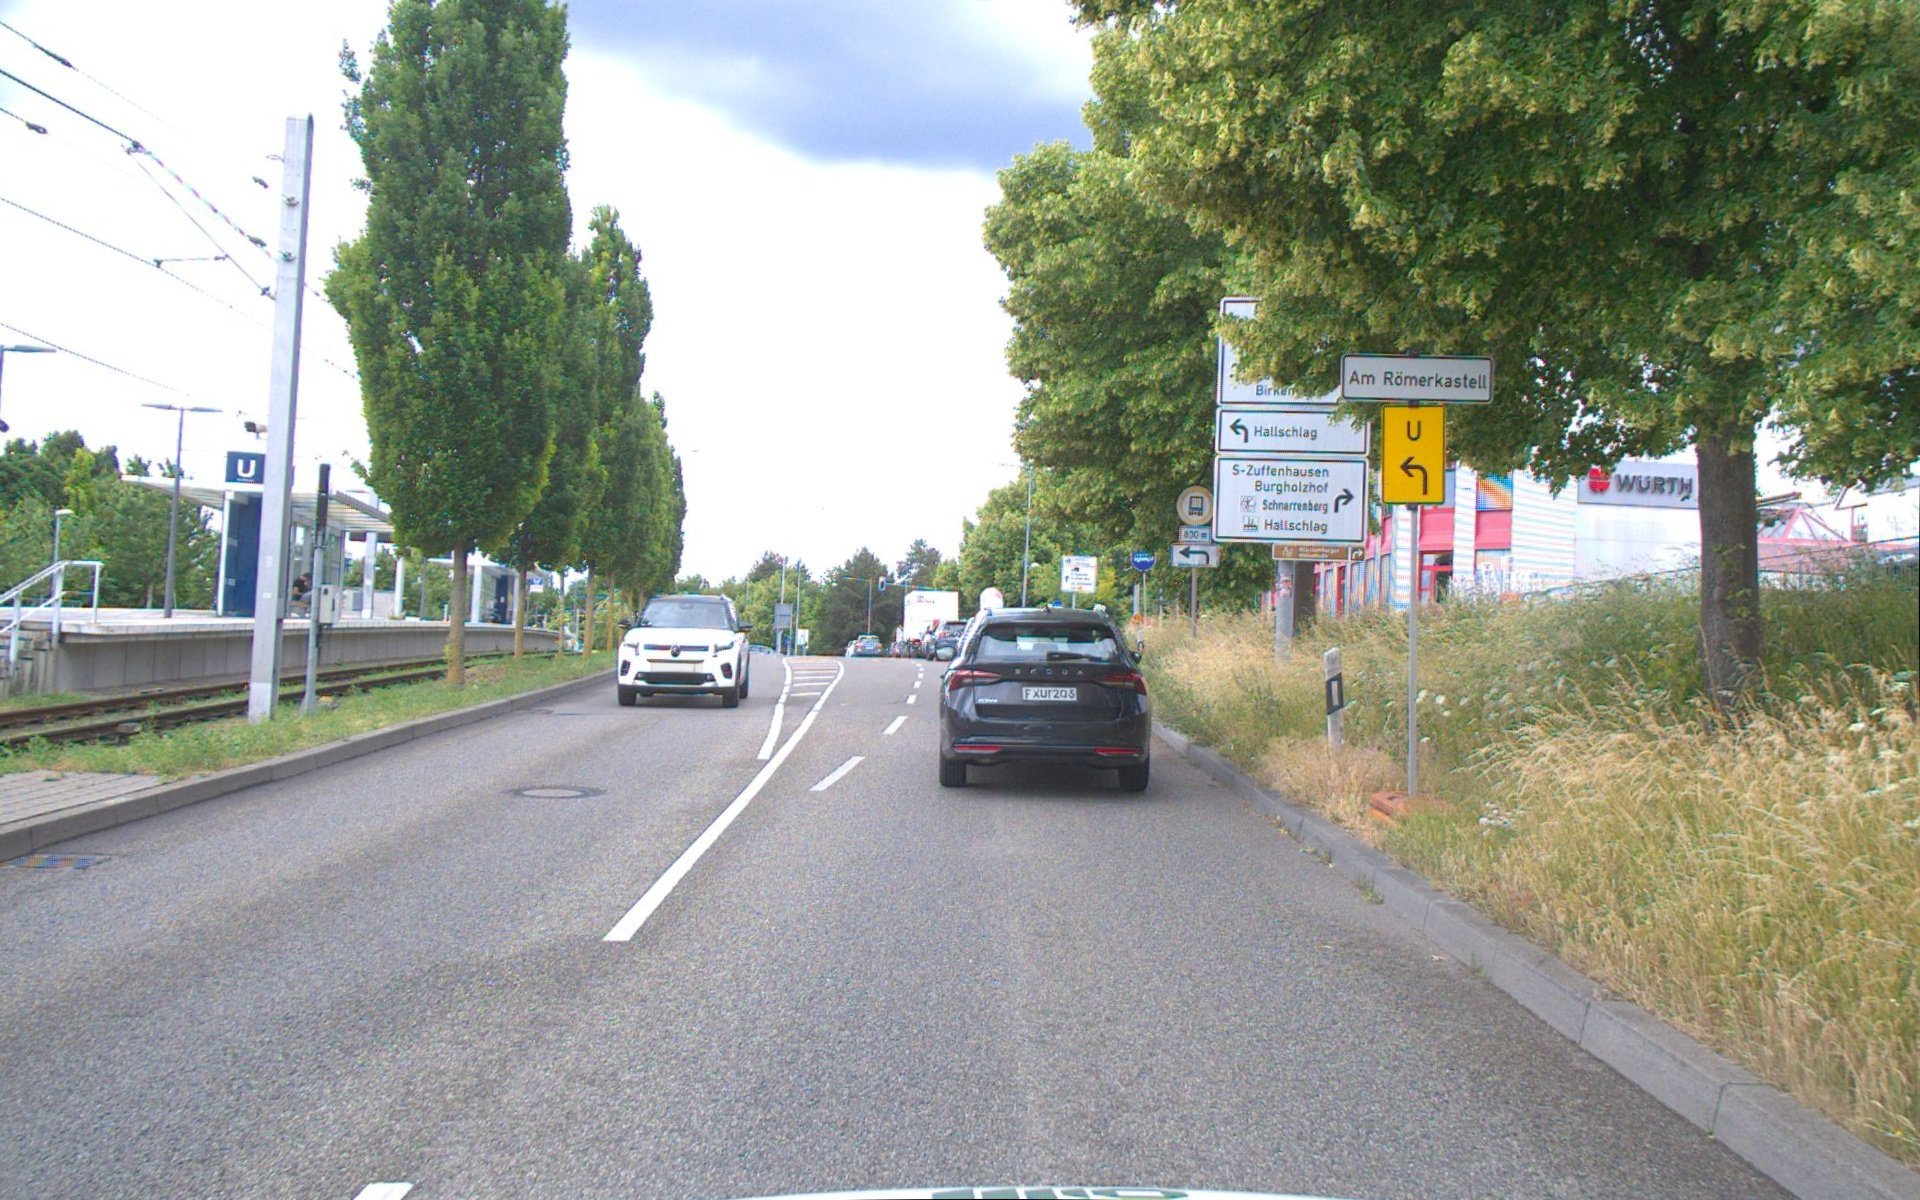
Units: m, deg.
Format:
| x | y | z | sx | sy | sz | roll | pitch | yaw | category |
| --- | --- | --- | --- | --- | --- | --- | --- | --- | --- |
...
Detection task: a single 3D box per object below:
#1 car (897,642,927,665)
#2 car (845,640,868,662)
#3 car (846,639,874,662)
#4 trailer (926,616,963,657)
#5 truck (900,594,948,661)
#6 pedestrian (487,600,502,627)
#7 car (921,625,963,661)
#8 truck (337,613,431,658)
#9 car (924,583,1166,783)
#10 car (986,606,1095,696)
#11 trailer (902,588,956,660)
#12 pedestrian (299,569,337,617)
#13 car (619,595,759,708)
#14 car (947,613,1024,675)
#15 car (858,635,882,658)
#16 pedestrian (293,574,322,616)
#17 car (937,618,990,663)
| x | y | z | sx | sy | sz | roll | pitch | yaw | category |
| --- | --- | --- | --- | --- | --- | --- | --- | --- | --- |
| -3.190 | 3.536 | 109.677 | 1.776 | 1.378 | 4.115 | 2 | 0 | -4 | car |
| -7.634 | 3.769 | 122.000 | 1.506 | 1.531 | 2.666 | 1 | -3 | -6 | car |
| -7.066 | 3.573 | 116.697 | 1.688 | 1.447 | 4.349 | 1 | -3 | -6 | car |
| -0.643 | 1.514 | 68.142 | 1.381 | 1.622 | 3.301 | 1 | -2 | -3 | trailer |
| -2.179 | 1.676 | 99.045 | 2.521 | 3.771 | 4.100 | 1 | -4 | -6 | truck |
| -22.202 | 0.639 | 78.952 | 0.599 | 1.291 | 0.658 | 1 | 0 | -11 | pedestrian |
| -0.806 | 1.872 | 72.038 | 1.638 | 1.473 | 4.486 | 1 | -2 | -3 | car |
| -49.619 | 3.063 | 142.628 | 7.095 | 3.662 | 2.690 | 1 | 0 | -3 | truck |
| 0.770 | 0.632 | 14.751 | 1.797 | 1.457 | 4.280 | 2 | 0 | 3 | car |
| 1.399 | 0.874 | 29.982 | 1.591 | 1.483 | 3.686 | 1 | 0 | -3 | car |
| -1.832 | 1.461 | 95.192 | 2.516 | 3.771 | 7.753 | 1 | -4 | -5 | trailer |
| -16.763 | -0.187 | 43.220 | 0.747 | 1.220 | 0.664 | 1 | -1 | -7 | pedestrian |
| -3.984 | 0.719 | 24.790 | 1.682 | 1.548 | 3.741 | 1 | 0 | -4 | car |
| 0.612 | 1.099 | 42.549 | 1.684 | 1.483 | 3.694 | 1 | -1 | -3 | car |
| -5.888 | 2.989 | 107.642 | 1.495 | 1.378 | 3.488 | 1 | 0 | -4 | car |
| -17.354 | -0.121 | 44.017 | 0.595 | 1.098 | 0.469 | 1 | 0 | -7 | pedestrian |
| 0.104 | 1.484 | 61.370 | 1.665 | 1.512 | 3.997 | 2 | 0 | -4 | car |
